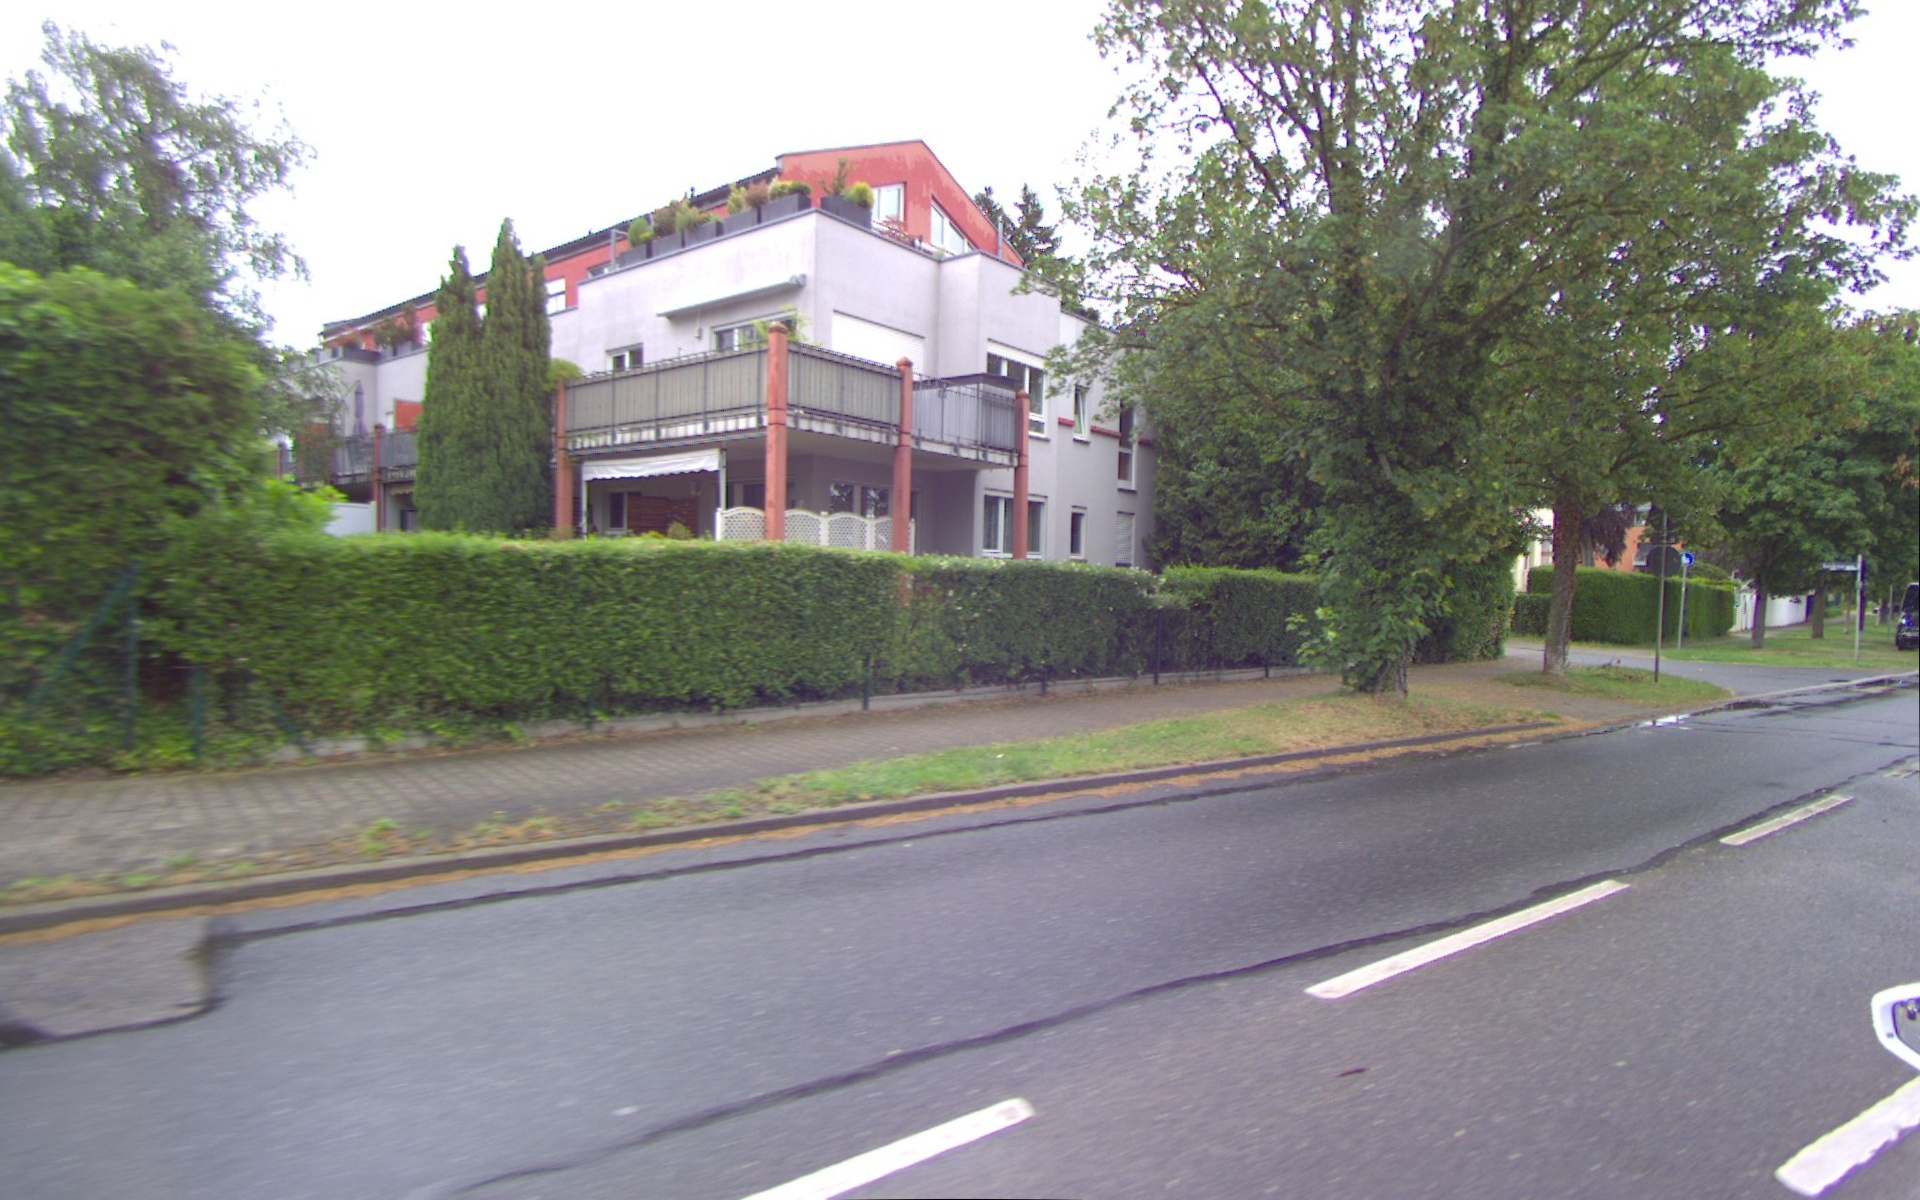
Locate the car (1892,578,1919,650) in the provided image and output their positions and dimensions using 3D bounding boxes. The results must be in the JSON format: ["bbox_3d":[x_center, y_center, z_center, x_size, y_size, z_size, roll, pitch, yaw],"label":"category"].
[{"bbox_3d":[39.783,0.583,41.116,5.898,2.765,1.973,0,4,-45],"label":"car"}]

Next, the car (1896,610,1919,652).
[{"bbox_3d":[34.976,1.122,36.187,1.705,1.427,3.801,4,2,44],"label":"car"}]
